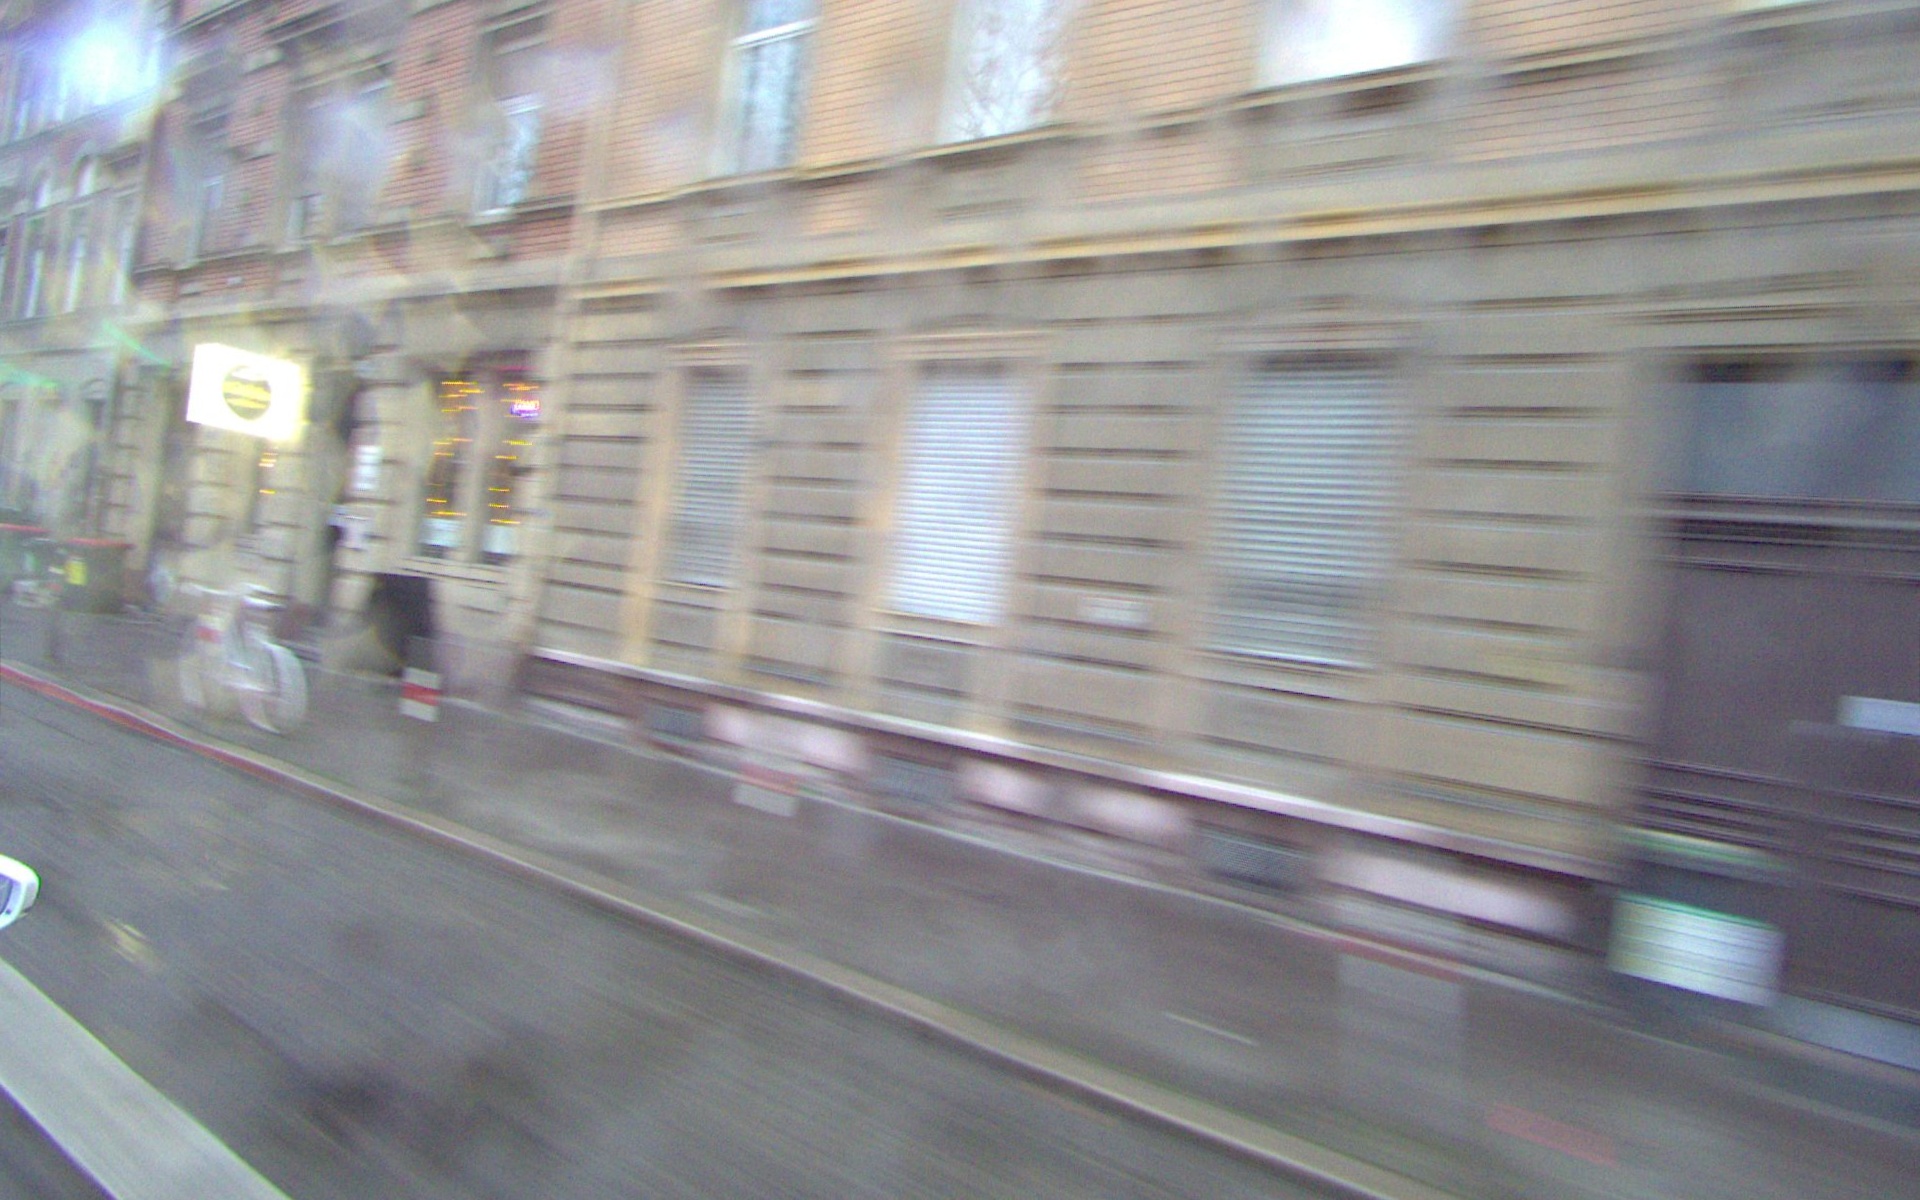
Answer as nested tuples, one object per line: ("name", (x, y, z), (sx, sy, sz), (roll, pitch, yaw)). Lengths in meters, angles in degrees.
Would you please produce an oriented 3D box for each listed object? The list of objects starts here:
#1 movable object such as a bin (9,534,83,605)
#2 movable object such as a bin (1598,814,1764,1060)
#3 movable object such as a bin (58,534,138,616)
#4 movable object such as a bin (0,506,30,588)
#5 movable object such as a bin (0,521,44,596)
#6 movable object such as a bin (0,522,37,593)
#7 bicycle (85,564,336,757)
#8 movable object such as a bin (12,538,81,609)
("movable object such as a bin", (-13.459, -0.439, 14.824), (0.483, 0.940, 0.612), (7, -1, 30))
("movable object such as a bin", (3.412, 1.566, 4.801), (0.499, 0.942, 0.507), (7, -1, 30))
("movable object such as a bin", (-12.365, -0.349, 14.440), (0.482, 1.093, 0.613), (7, 0, 3))
("movable object such as a bin", (-16.320, -0.954, 16.625), (1.239, 1.304, 0.890), (7, -1, 25))
("movable object such as a bin", (-14.841, -0.660, 15.769), (0.609, 1.095, 0.592), (8, -1, -44))
("movable object such as a bin", (-15.376, -0.708, 16.114), (0.763, 1.051, 0.592), (8, -1, -44))
("bicycle", (-5.794, 0.430, 7.735), (2.152, 1.169, 0.685), (6, -2, 32))
("movable object such as a bin", (-13.076, -0.375, 14.403), (0.417, 0.940, 0.490), (7, 0, 5))
